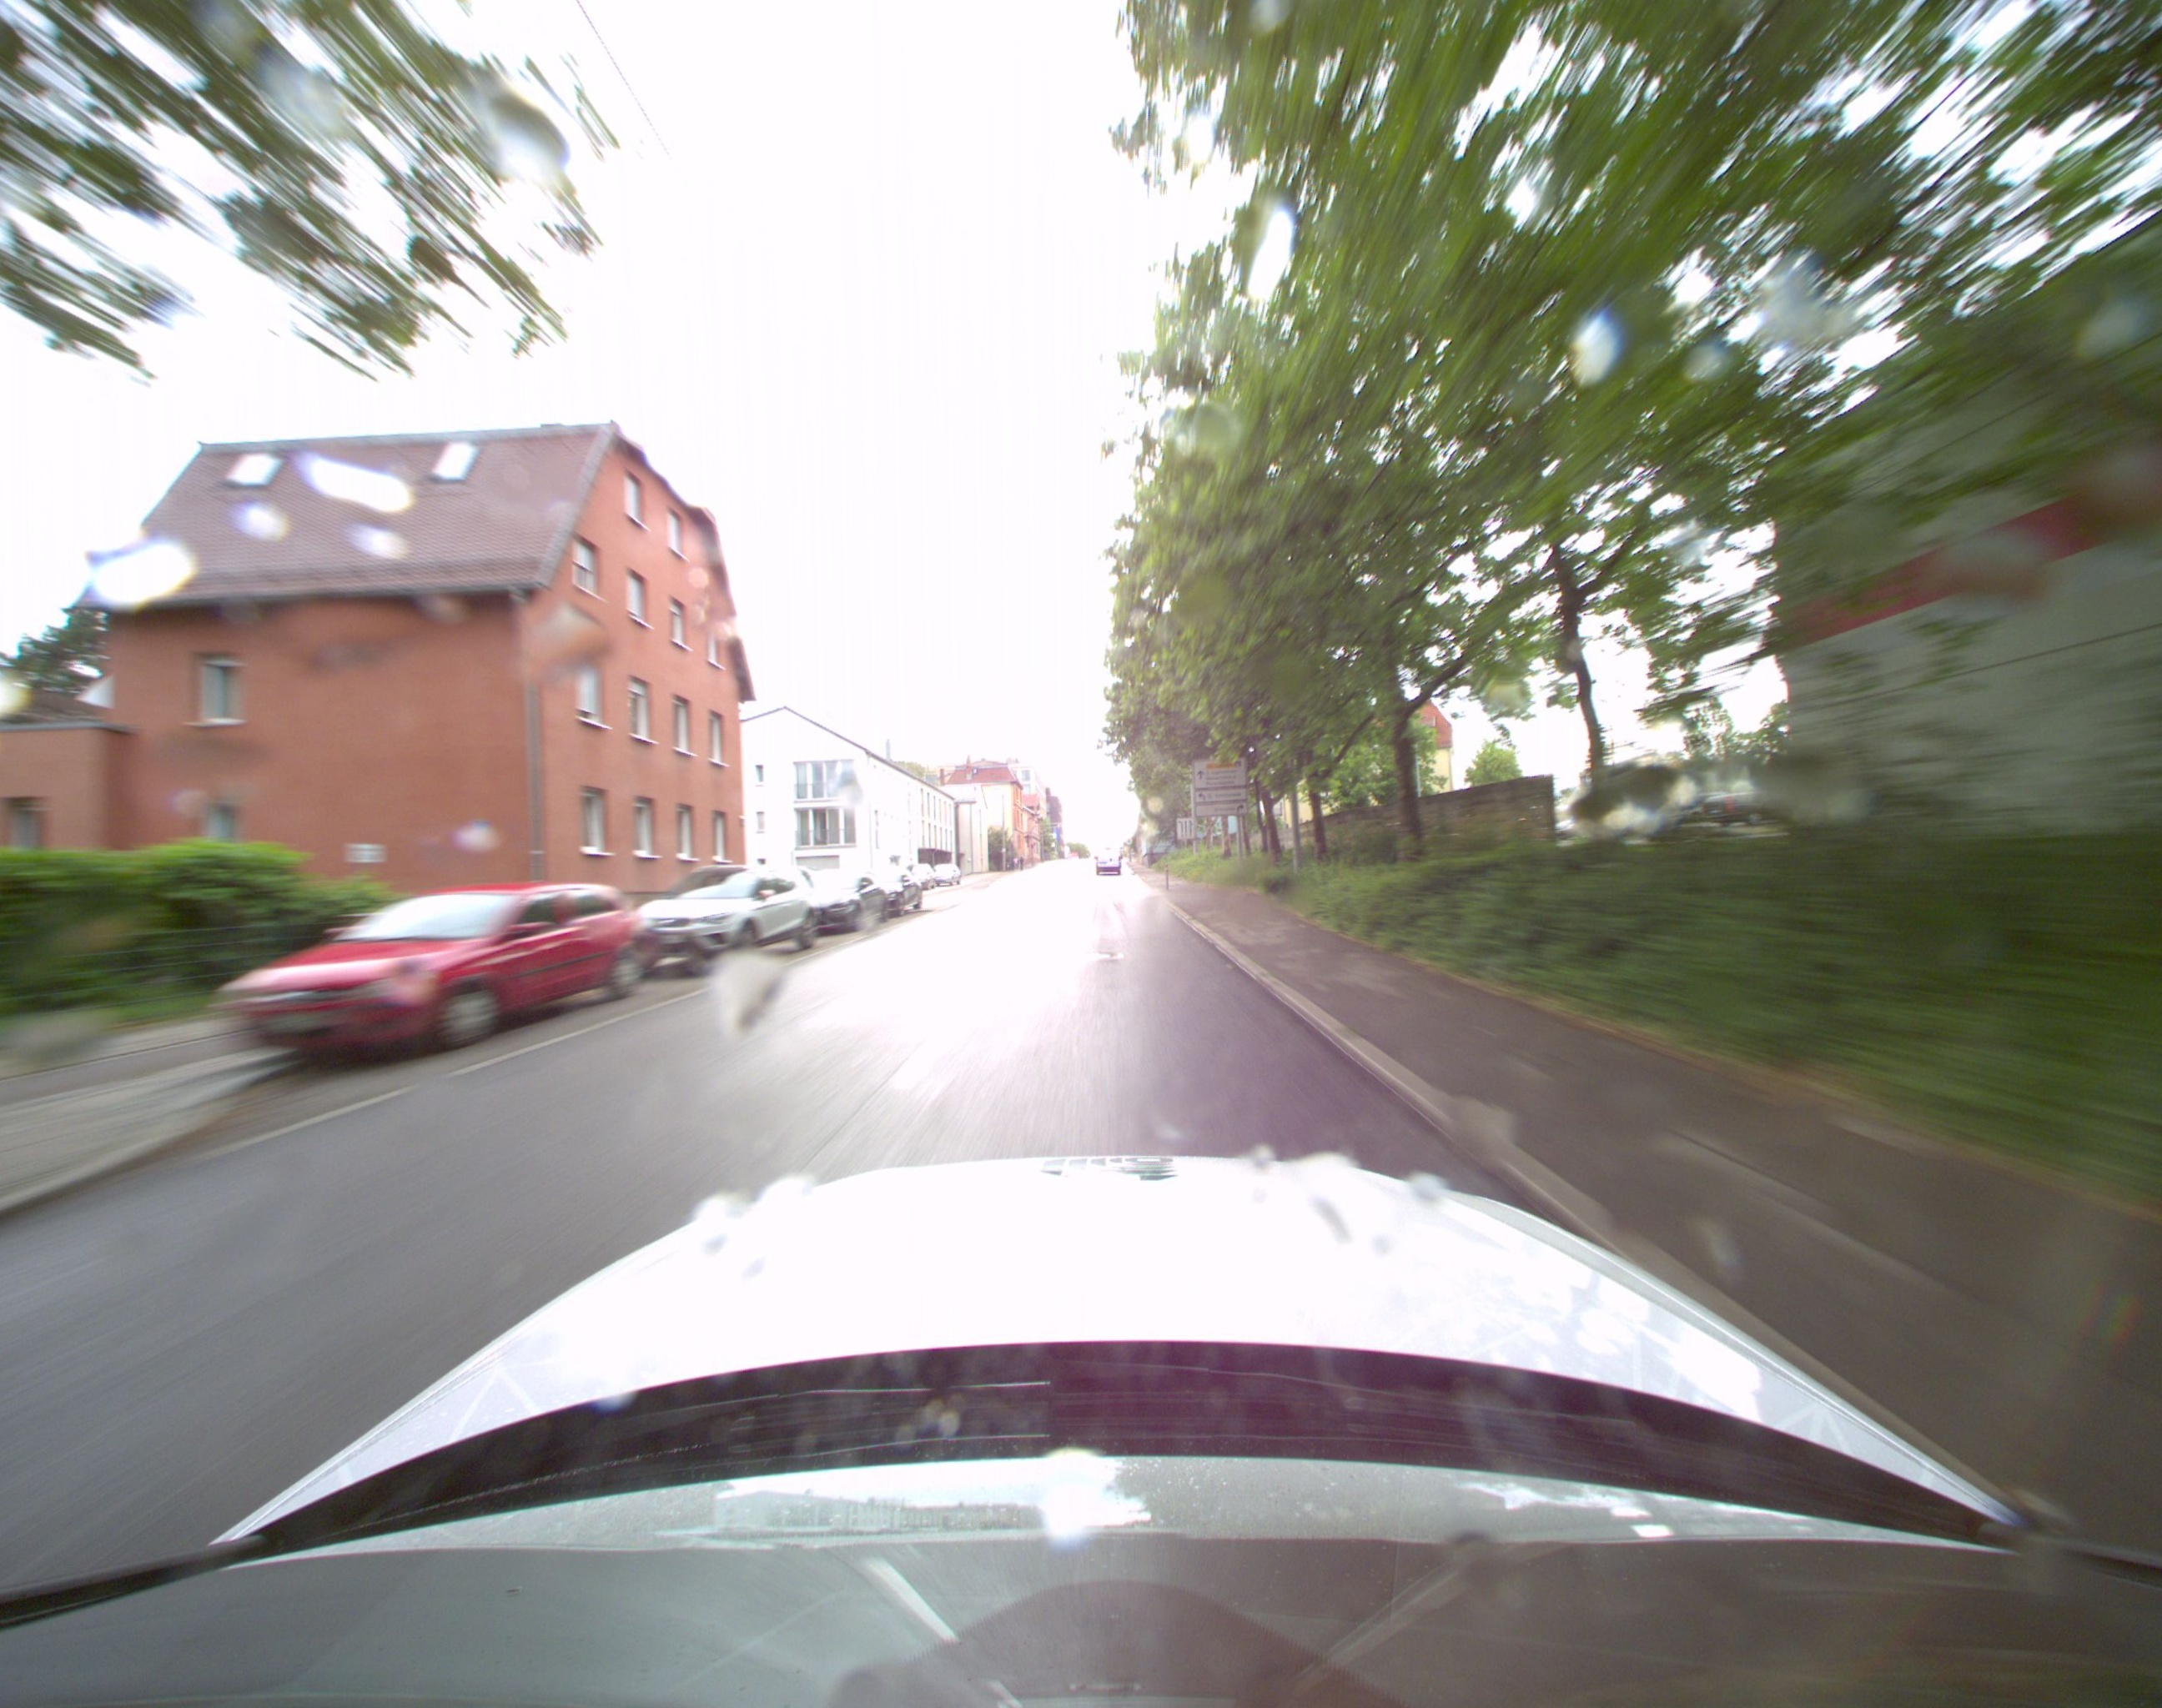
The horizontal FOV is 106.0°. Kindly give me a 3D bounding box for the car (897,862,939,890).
[{"bbox_3d":[-9.880,1.312,49.602,1.662,1.530,4.095,-3,0,0],"label":"car"}]

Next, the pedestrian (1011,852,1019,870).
[{"bbox_3d":[-7.823,0.821,96.884,0.668,2.014,0.943,-2,-1,6],"label":"pedestrian"}]

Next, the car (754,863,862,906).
[{"bbox_3d":[-12.426,1.366,37.188,4.130,1.698,2.003,-3,0,4],"label":"car"}]

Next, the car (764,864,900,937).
[{"bbox_3d":[-5.828,1.024,19.621,1.737,1.482,4.387,-2,0,2],"label":"car"}]

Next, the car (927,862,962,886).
[{"bbox_3d":[-9.422,1.362,56.560,1.662,1.530,4.095,-3,0,0],"label":"car"}]

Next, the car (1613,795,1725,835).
[{"bbox_3d":[24.408,-1.573,33.998,1.788,1.409,4.000,-2,0,1],"label":"car"}]

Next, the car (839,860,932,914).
[{"bbox_3d":[-5.796,0.939,24.676,1.628,1.482,4.360,0,-1,2],"label":"car"}]

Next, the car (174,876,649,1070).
[{"bbox_3d":[-6.176,0.969,8.183,1.633,1.373,3.758,-2,0,0],"label":"car"}]

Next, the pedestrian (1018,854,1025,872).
[{"bbox_3d":[-7.068,1.073,96.793,0.668,2.014,0.943,-2,-1,6],"label":"pedestrian"}]

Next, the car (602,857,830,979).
[{"bbox_3d":[-5.802,0.913,13.581,1.684,1.542,4.119,-5,0,2],"label":"car"}]

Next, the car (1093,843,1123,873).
[{"bbox_3d":[2.234,0.379,67.159,2.327,2.231,4.002,-3,-2,2],"label":"car"}]
